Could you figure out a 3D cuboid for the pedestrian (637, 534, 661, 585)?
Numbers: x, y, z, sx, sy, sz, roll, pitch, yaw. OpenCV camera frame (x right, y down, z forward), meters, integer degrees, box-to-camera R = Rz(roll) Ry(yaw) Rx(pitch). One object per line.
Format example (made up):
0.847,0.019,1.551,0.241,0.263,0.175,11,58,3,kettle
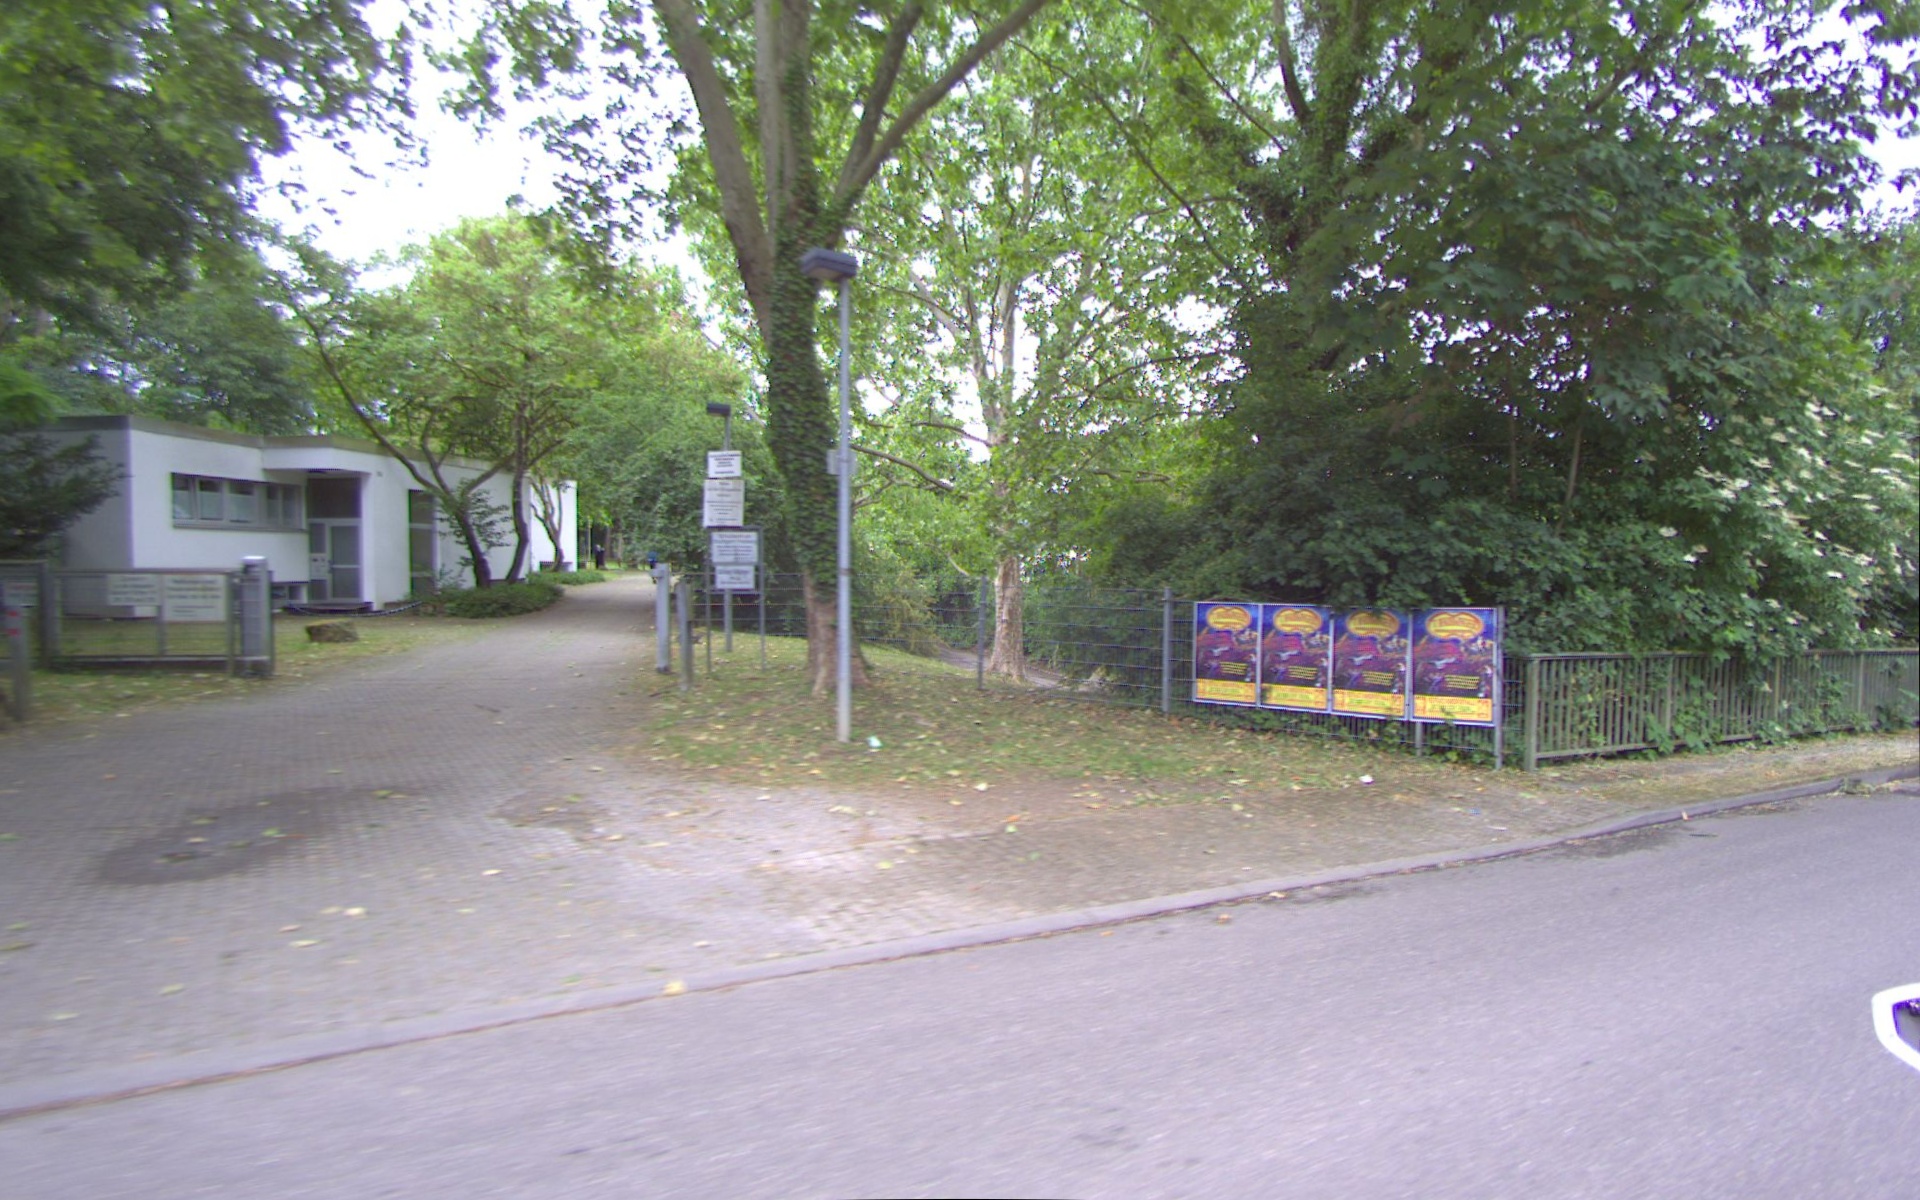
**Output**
-12.671,-1.646,40.955,0.782,2.040,0.992,2,1,-10,pedestrian
